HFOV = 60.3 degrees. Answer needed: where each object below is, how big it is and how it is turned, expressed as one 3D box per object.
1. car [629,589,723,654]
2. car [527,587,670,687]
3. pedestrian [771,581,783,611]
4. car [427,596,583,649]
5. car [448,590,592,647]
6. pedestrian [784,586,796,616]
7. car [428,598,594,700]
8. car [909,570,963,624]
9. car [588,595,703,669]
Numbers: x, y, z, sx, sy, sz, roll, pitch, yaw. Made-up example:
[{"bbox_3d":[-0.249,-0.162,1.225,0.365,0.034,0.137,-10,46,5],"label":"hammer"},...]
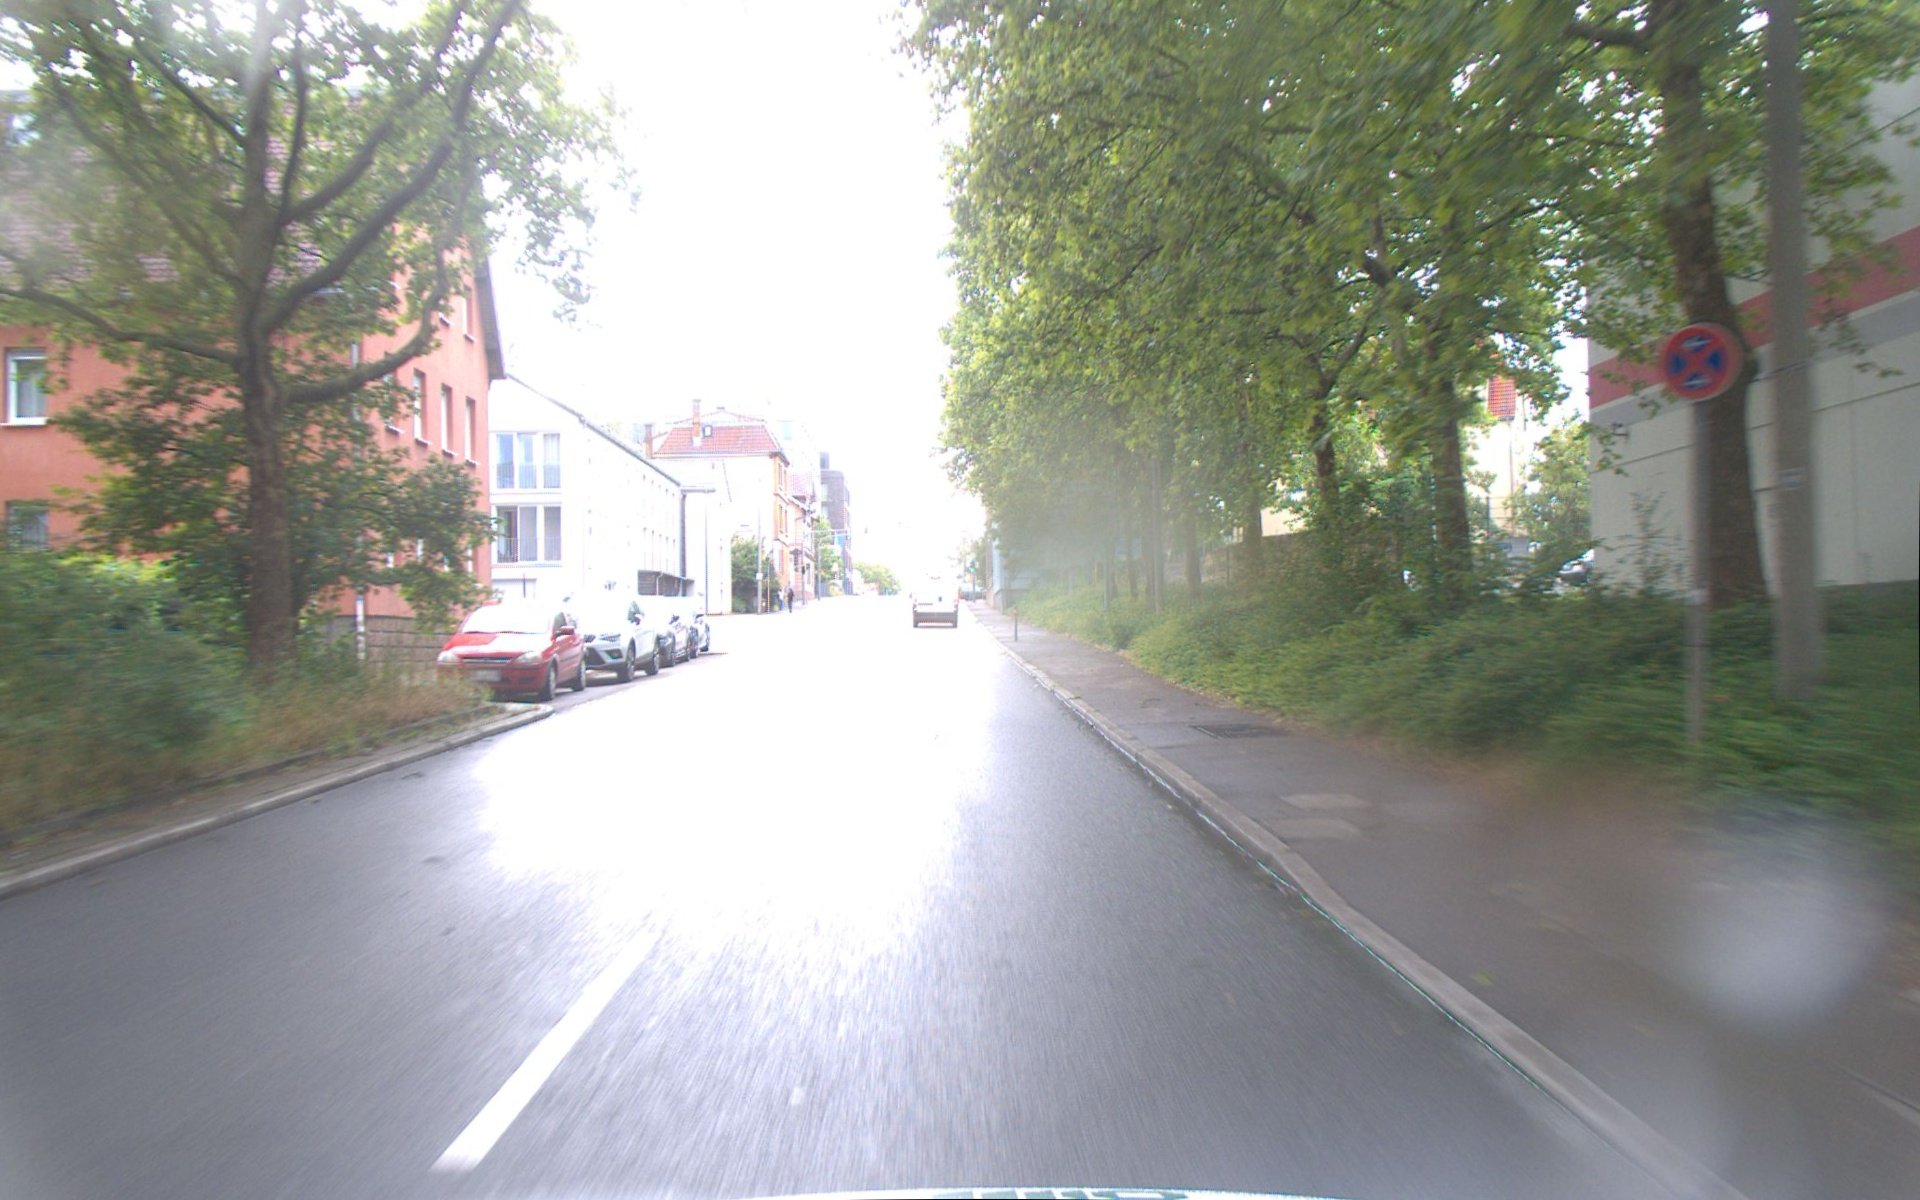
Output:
[{"bbox_3d":[-7.006,0.513,41.152,1.601,1.508,4.358,1,0,-1],"label":"car"},{"bbox_3d":[-6.467,0.606,30.030,1.657,1.569,4.117,-3,1,-1],"label":"car"},{"bbox_3d":[-12.669,-0.255,114.453,0.657,2.049,0.942,0,0,3],"label":"pedestrian"},{"bbox_3d":[-13.902,0.683,50.722,4.202,1.489,2.068,-1,0,-1],"label":"car"},{"bbox_3d":[-14.206,0.585,53.531,4.063,1.727,2.001,-1,0,2],"label":"car"},{"bbox_3d":[-11.783,0.080,114.731,0.657,2.049,0.942,0,0,3],"label":"pedestrian"},{"bbox_3d":[-6.590,0.665,24.624,1.606,1.397,3.757,0,0,-3],"label":"car"},{"bbox_3d":[-1.060,-0.108,73.952,2.288,2.270,3.999,-1,-1,0],"label":"car"},{"bbox_3d":[-6.793,0.651,36.128,1.708,1.508,4.385,-1,0,-1],"label":"car"}]
